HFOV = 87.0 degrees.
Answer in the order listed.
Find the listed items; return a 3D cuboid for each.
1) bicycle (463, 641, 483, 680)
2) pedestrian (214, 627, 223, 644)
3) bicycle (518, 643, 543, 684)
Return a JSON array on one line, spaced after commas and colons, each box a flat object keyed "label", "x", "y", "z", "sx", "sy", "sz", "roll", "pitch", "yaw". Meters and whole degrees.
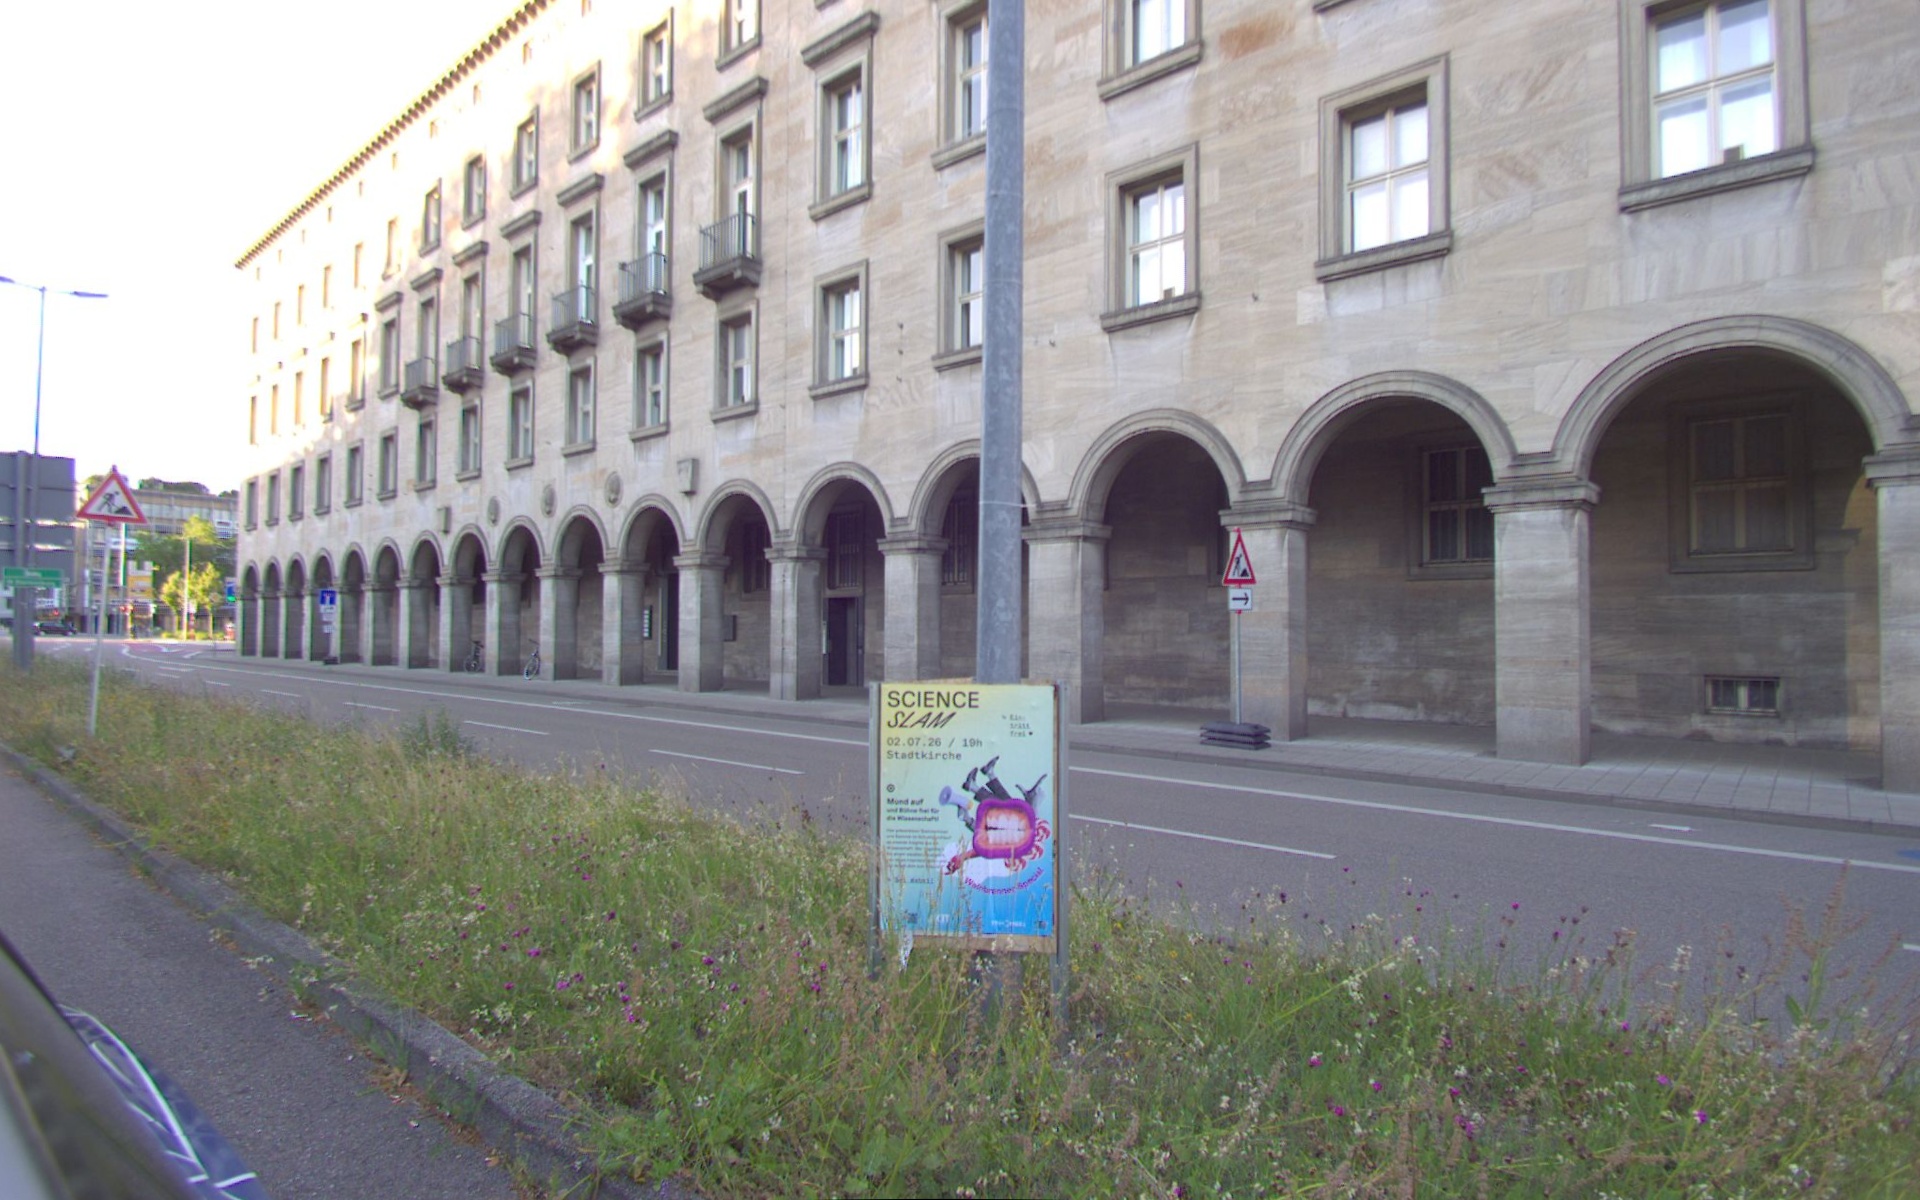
[{"label": "bicycle", "x": -15.419, "y": 1.900, "z": 32.077, "sx": 0.505, "sy": 1.188, "sz": 2.431, "roll": 1, "pitch": -2, "yaw": -25}, {"label": "pedestrian", "x": -67.822, "y": 3.276, "z": 92.539, "sx": 0.389, "sy": 1.553, "sz": 0.519, "roll": -2, "pitch": -3, "yaw": 41}, {"label": "bicycle", "x": -12.781, "y": 1.866, "z": 30.147, "sx": 0.505, "sy": 1.130, "sz": 2.431, "roll": 1, "pitch": -1, "yaw": -20}]
